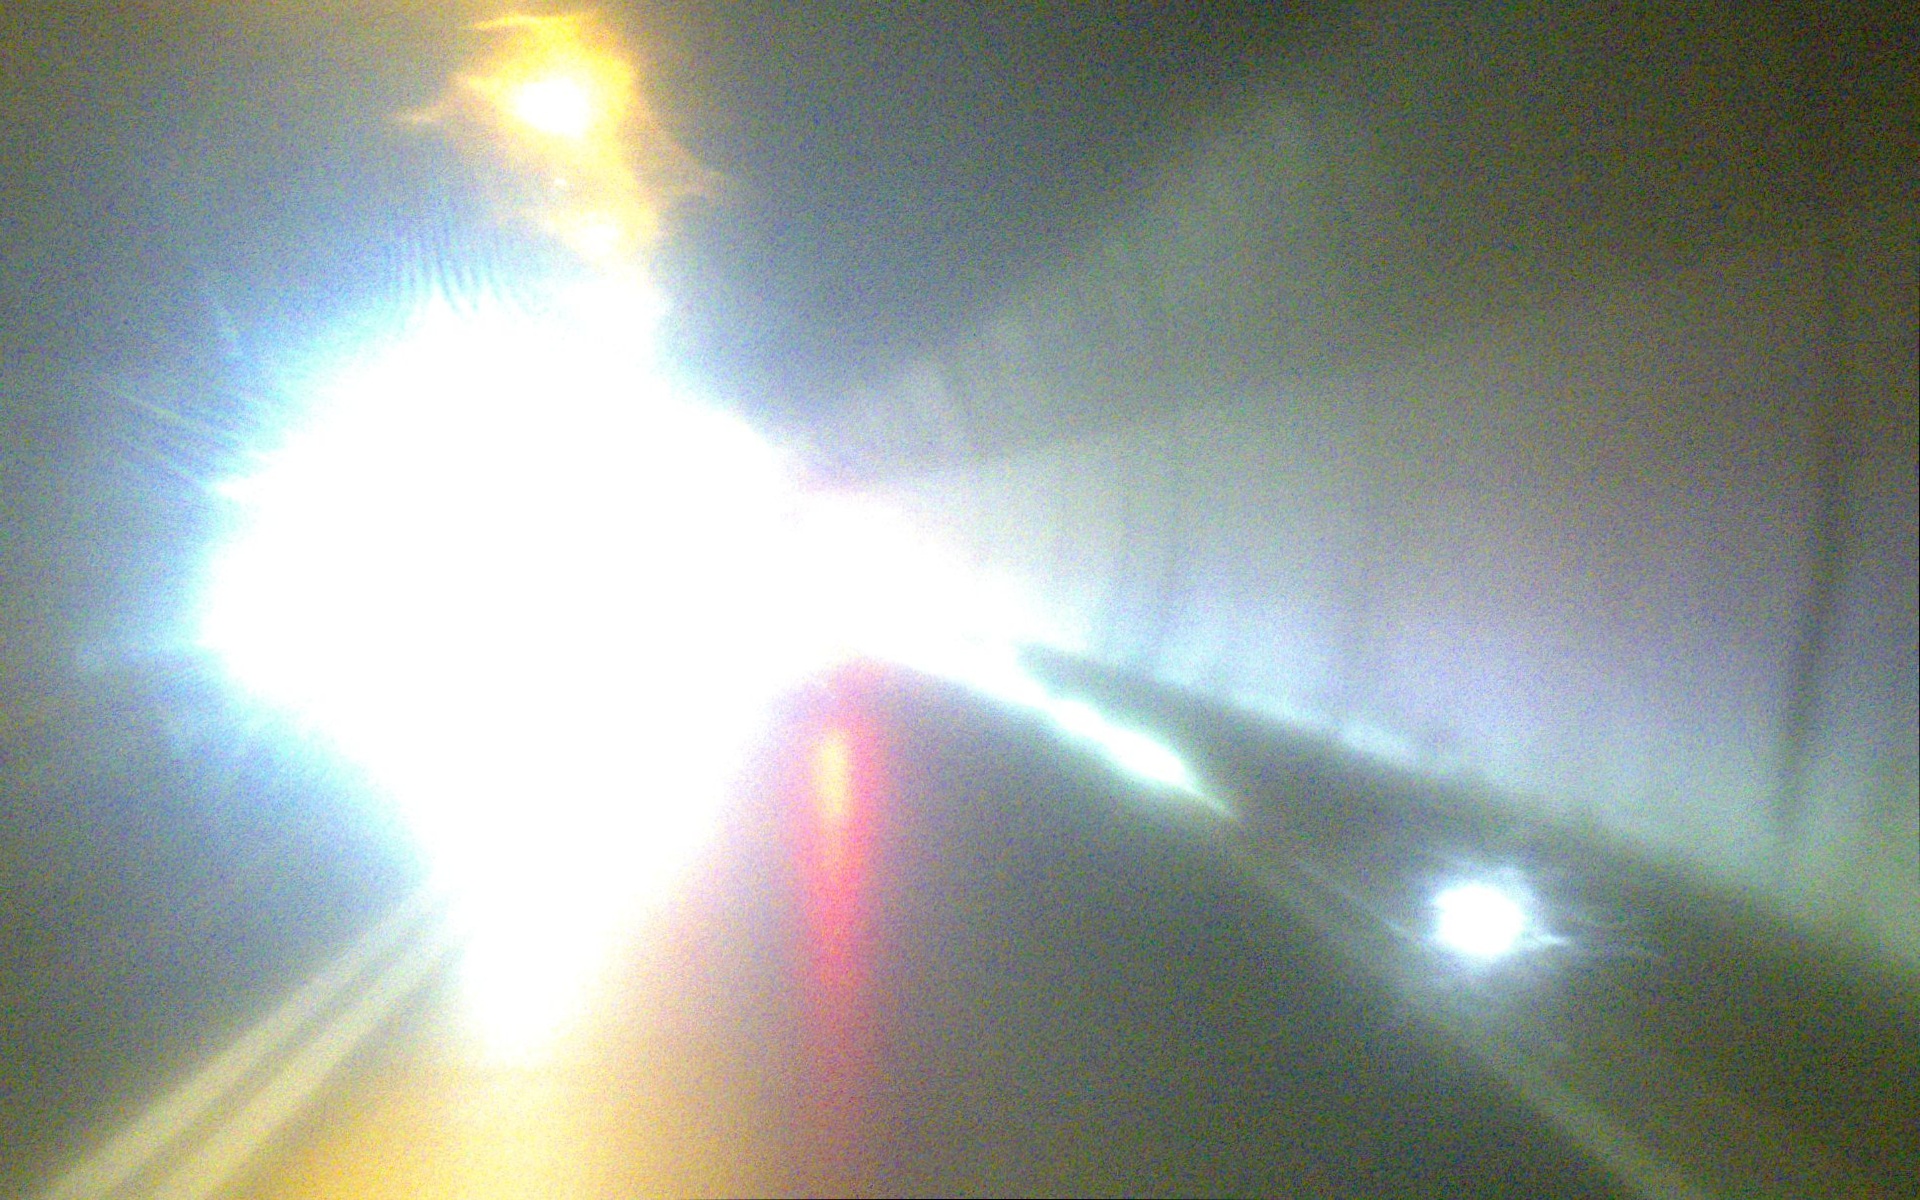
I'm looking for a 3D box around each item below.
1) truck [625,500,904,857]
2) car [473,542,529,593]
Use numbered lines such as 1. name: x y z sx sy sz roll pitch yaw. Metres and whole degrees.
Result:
1. truck: -1.873 0.646 33.818 2.262 3.000 7.416 3 1 -3
2. car: -14.073 -1.011 105.451 1.620 1.512 4.138 1 1 -7
